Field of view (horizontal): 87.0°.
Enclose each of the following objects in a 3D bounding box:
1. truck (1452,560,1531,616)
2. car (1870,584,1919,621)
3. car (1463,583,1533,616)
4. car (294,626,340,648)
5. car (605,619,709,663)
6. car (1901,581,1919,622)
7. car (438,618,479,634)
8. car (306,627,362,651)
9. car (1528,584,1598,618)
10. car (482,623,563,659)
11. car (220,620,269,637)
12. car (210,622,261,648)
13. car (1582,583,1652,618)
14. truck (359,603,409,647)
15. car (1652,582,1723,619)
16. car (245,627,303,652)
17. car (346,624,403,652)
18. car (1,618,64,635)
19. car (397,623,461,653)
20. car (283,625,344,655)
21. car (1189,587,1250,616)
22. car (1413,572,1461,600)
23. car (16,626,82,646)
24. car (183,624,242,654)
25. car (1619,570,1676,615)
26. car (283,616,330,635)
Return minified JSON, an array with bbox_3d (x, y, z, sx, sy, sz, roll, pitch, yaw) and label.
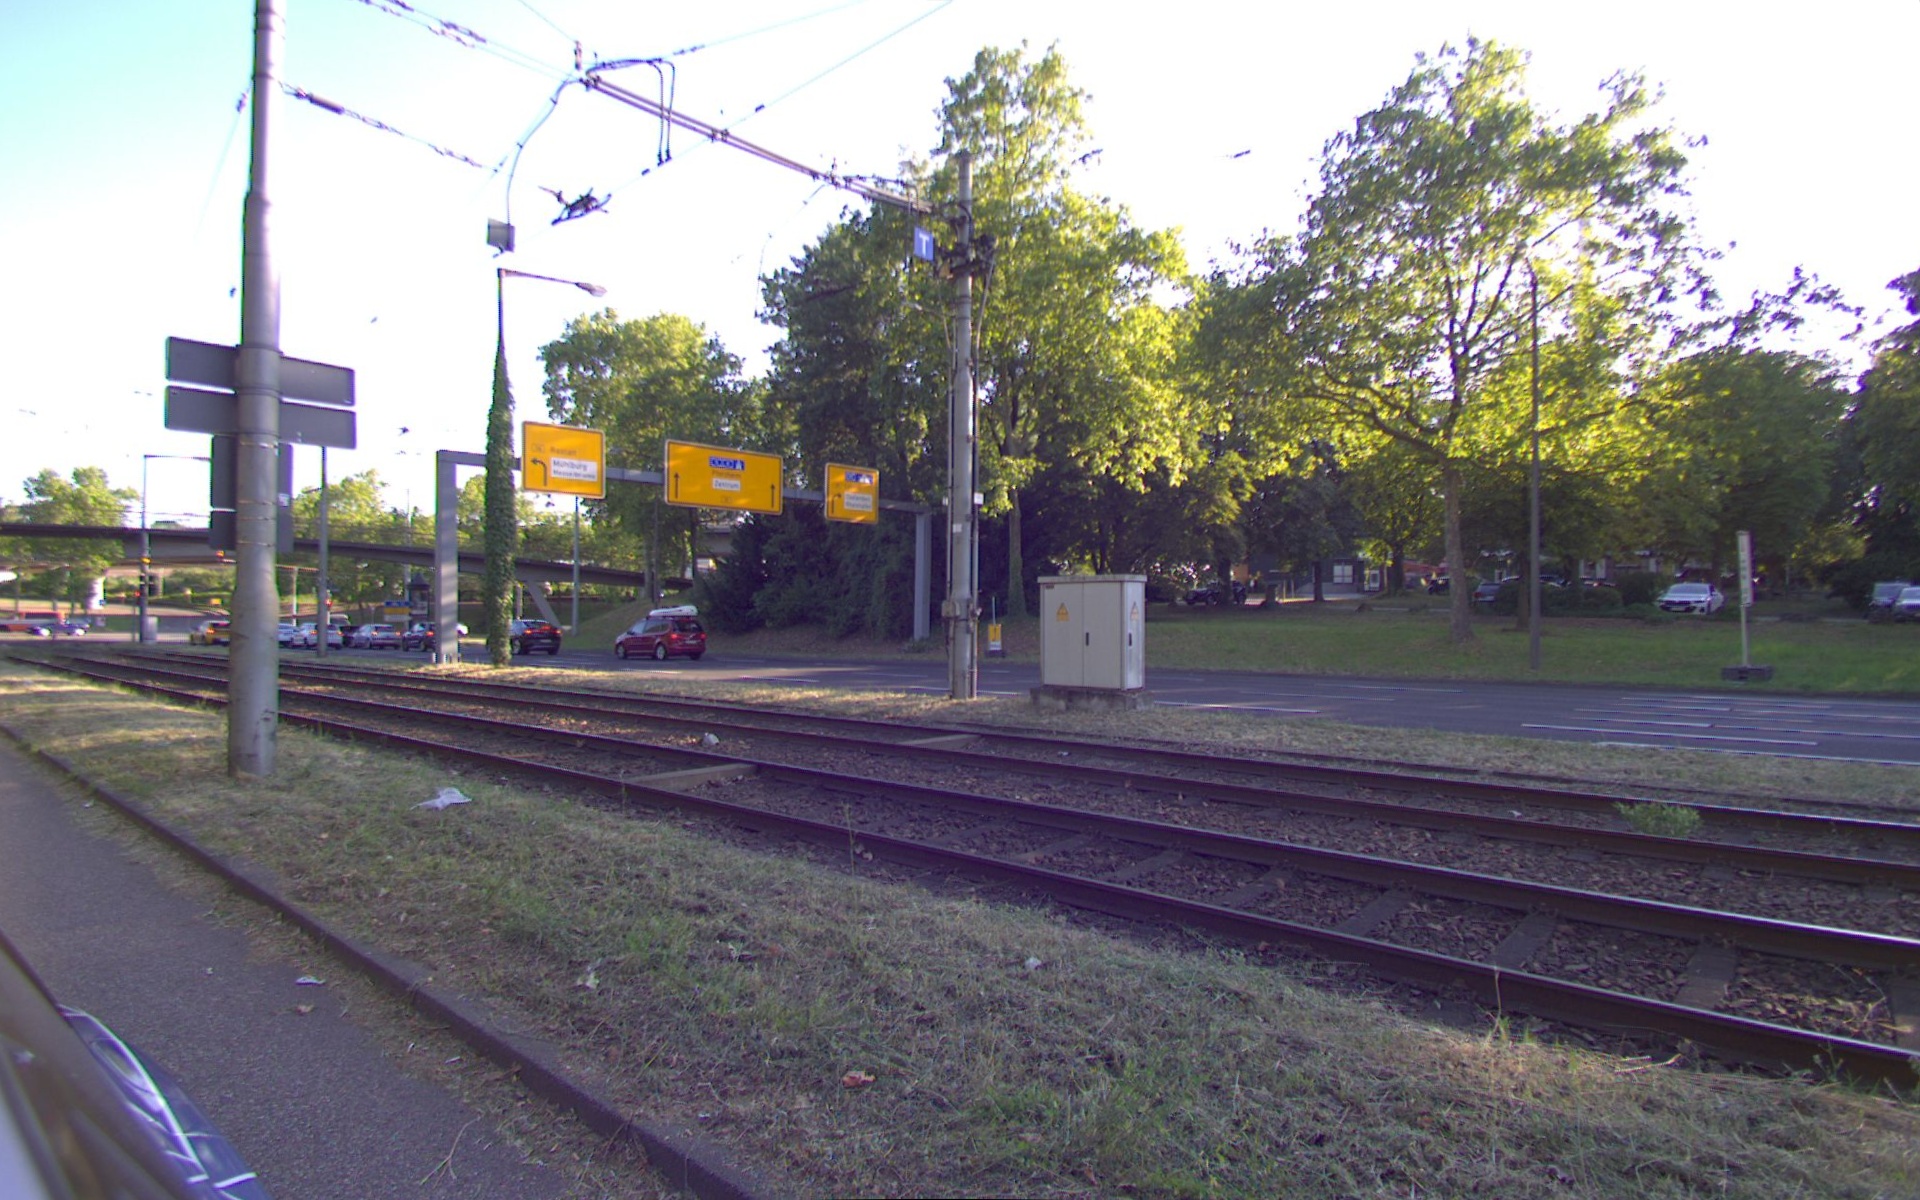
[{"bbox_3d":[31.732,-0.694,60.291,2.503,3.191,6.137,0,0,45],"label":"truck"},{"bbox_3d":[43.959,0.089,47.234,3.998,1.628,1.864,-1,0,-43],"label":"car"},{"bbox_3d":[26.160,-0.048,49.192,1.942,1.521,4.039,0,0,44],"label":"car"},{"bbox_3d":[-44.285,2.505,69.673,1.891,1.435,4.229,0,-1,-44],"label":"car"},{"bbox_3d":[-11.826,1.570,39.421,4.308,1.647,1.818,-1,-2,40],"label":"car"},{"bbox_3d":[37.572,0.031,38.900,1.942,1.521,4.039,0,0,44],"label":"car"},{"bbox_3d":[-51.452,2.668,103.925,3.747,1.591,1.683,-1,0,-26],"label":"car"},{"bbox_3d":[-39.773,2.434,64.228,4.224,1.435,1.844,-1,-1,40],"label":"car"},{"bbox_3d":[28.416,0.011,47.663,1.942,1.521,4.039,0,0,44],"label":"car"},{"bbox_3d":[-20.081,1.849,46.341,4.332,1.556,1.713,-1,-2,41],"label":"car"},{"bbox_3d":[-69.305,2.788,98.103,3.728,1.510,1.769,-1,0,-32],"label":"car"},{"bbox_3d":[-45.849,2.181,64.043,4.228,1.561,1.892,-1,-2,44],"label":"car"},{"bbox_3d":[30.025,0.002,46.226,1.942,1.521,4.039,0,0,44],"label":"car"},{"bbox_3d":[-40.315,1.739,70.767,2.248,2.901,6.895,0,-1,-37],"label":"truck"},{"bbox_3d":[31.552,-0.002,43.851,1.942,1.521,4.039,0,0,44],"label":"car"},{"bbox_3d":[-40.623,2.319,59.911,4.226,1.435,1.893,-1,-1,42],"label":"car"},{"bbox_3d":[-34.973,2.243,60.414,3.998,1.556,1.789,-1,-1,41],"label":"car"},{"bbox_3d":[-83.425,2.364,91.072,3.810,1.421,1.817,-1,0,-30],"label":"car"},{"bbox_3d":[-28.090,1.996,53.474,3.971,1.569,1.733,-2,-3,42],"label":"car"},{"bbox_3d":[-35.751,2.203,55.956,3.997,1.556,1.744,-1,-1,40],"label":"car"},{"bbox_3d":[15.384,0.057,59.962,1.791,1.657,3.942,-1,-1,44],"label":"car"},{"bbox_3d":[33.544,-1.000,71.068,2.290,1.864,5.214,-1,1,34],"label":"car"},{"bbox_3d":[-75.931,2.972,84.372,1.758,1.510,3.752,-1,0,31],"label":"car"},{"bbox_3d":[-40.814,2.122,55.255,3.997,1.556,1.744,-1,-1,40],"label":"car"},{"bbox_3d":[36.875,-0.405,54.246,2.161,2.320,4.348,0,0,40],"label":"car"},{"bbox_3d":[-63.657,2.443,98.670,3.748,1.740,1.682,-1,0,-29],"label":"car"}]
